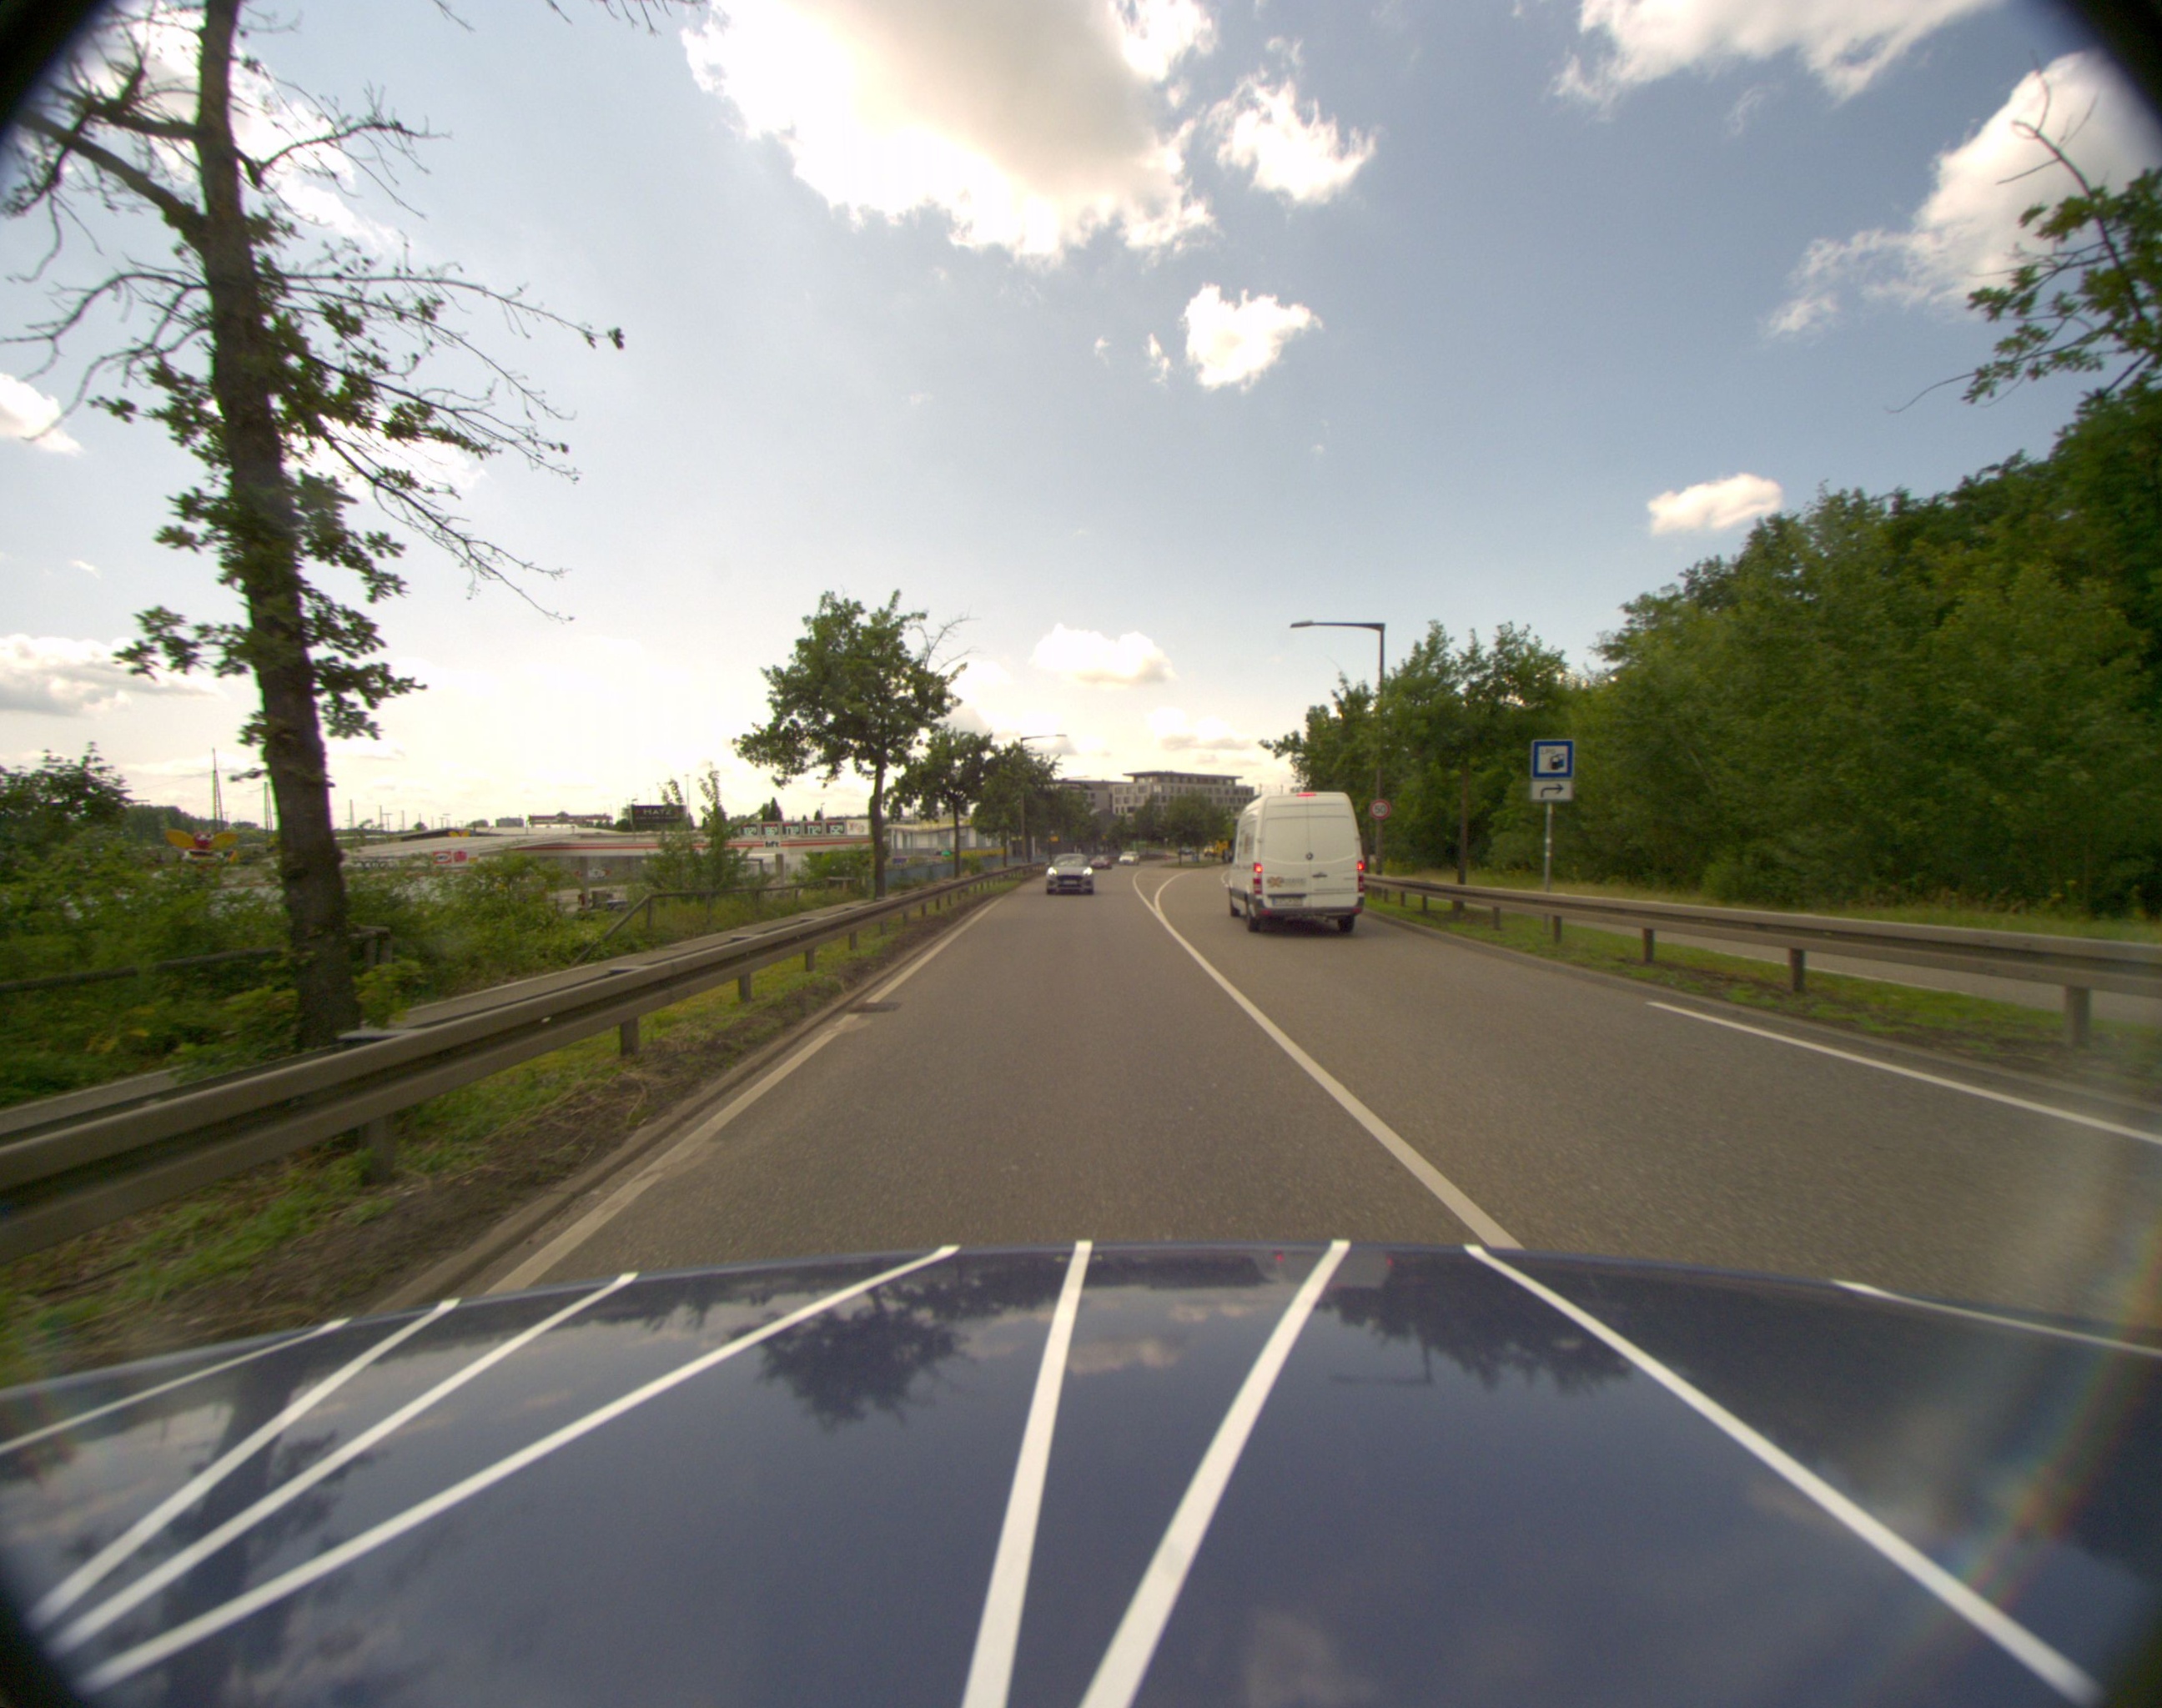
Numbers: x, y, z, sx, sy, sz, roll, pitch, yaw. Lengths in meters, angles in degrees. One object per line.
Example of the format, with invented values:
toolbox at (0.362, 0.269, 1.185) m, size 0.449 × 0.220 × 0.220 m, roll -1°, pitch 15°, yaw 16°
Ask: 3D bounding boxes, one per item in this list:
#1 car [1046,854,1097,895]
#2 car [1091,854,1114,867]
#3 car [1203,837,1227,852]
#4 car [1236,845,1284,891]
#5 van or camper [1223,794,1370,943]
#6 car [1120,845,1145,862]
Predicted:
car at (-0.311, 0.766, 30.102) m, size 1.827 × 1.516 × 4.000 m, roll -1°, pitch 0°, yaw 2°
car at (2.008, 0.604, 71.392) m, size 1.846 × 1.201 × 4.002 m, roll 1°, pitch 0°, yaw 6°
car at (22.925, -1.602, 130.252) m, size 1.994 × 2.306 × 4.896 m, roll -2°, pitch 1°, yaw 36°
car at (7.758, 0.549, 33.353) m, size 1.779 × 1.856 × 5.271 m, roll 0°, pitch 0°, yaw 10°
van or camper at (4.313, 0.253, 16.245) m, size 1.997 × 2.567 × 5.984 m, roll -1°, pitch 0°, yaw 6°
car at (6.251, -0.097, 92.053) m, size 1.995 × 2.002 × 4.005 m, roll 3°, pitch 2°, yaw 20°
